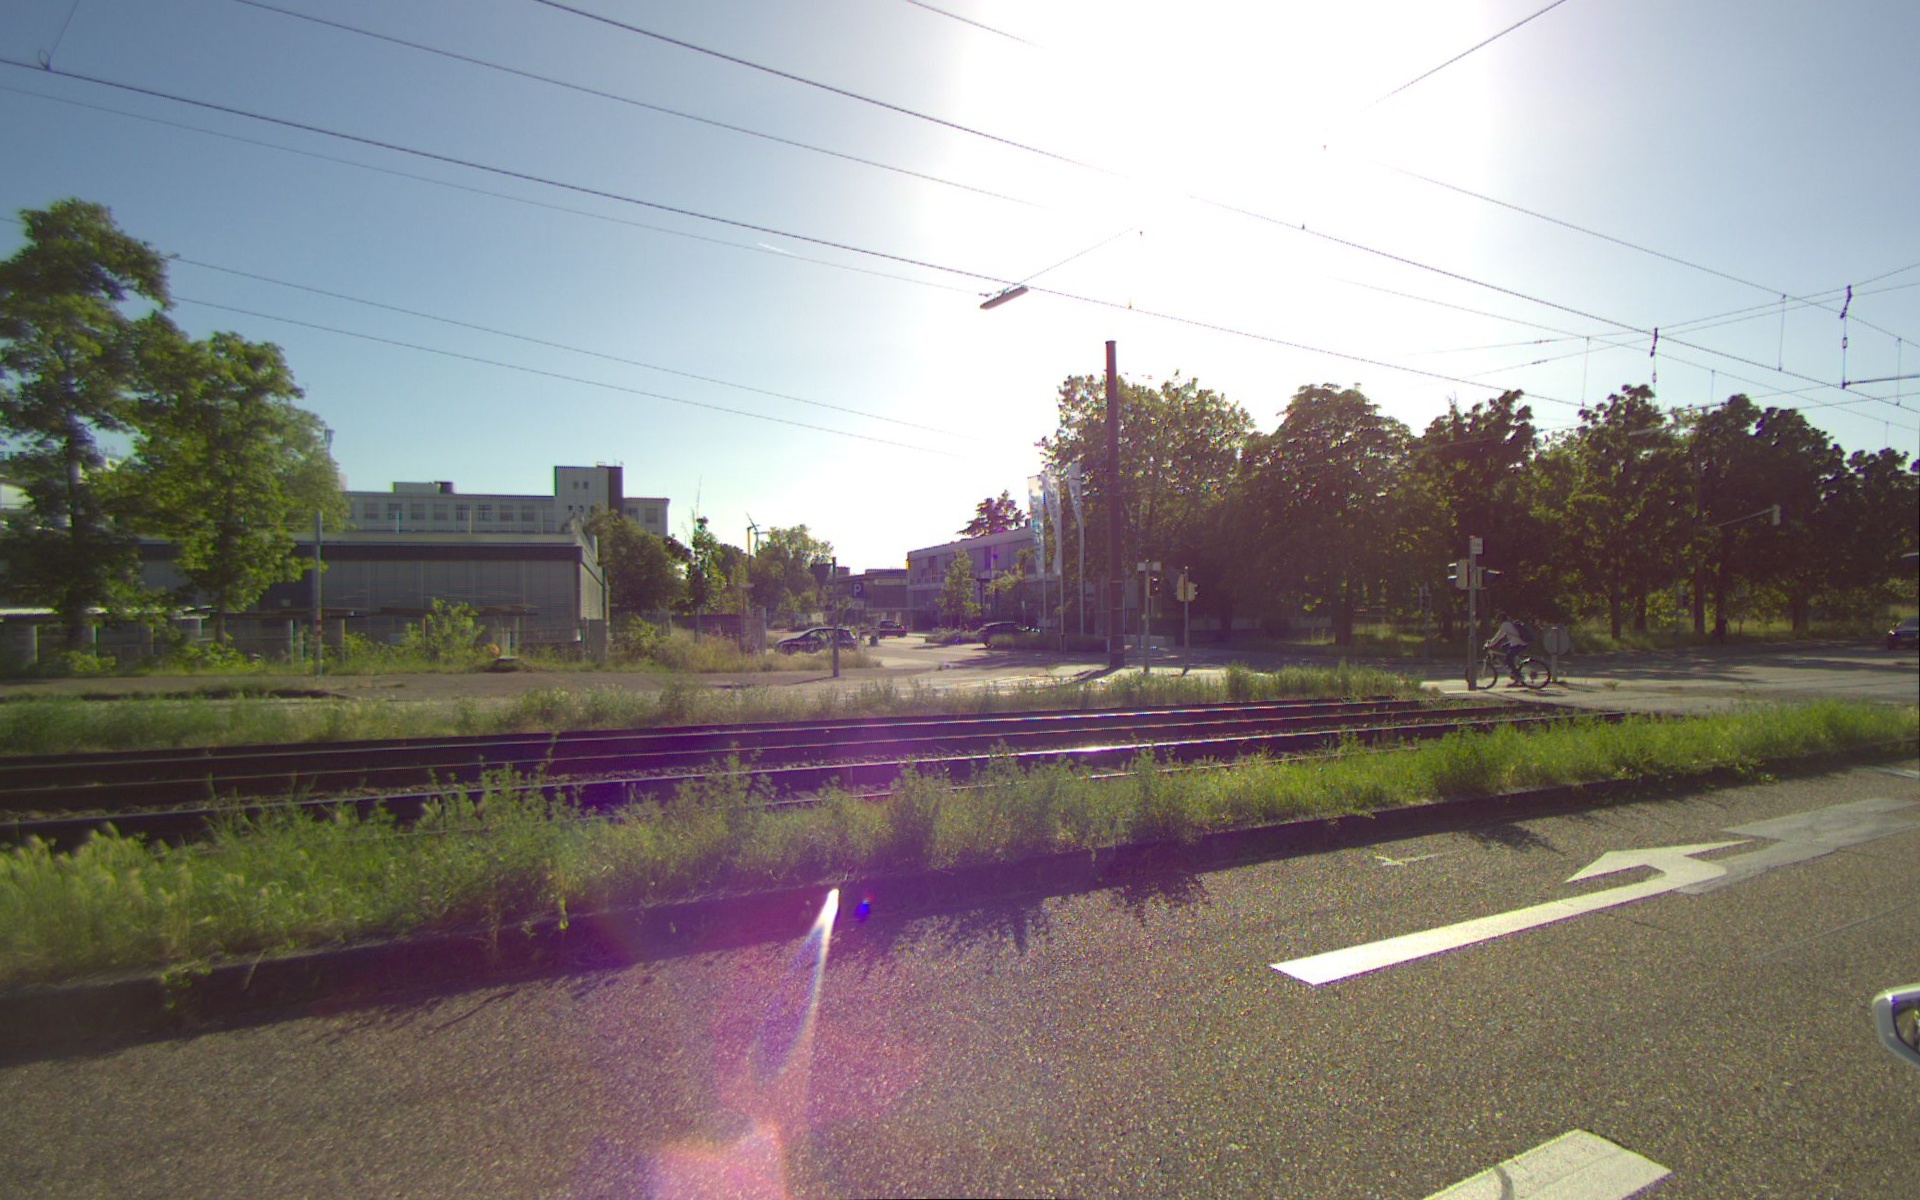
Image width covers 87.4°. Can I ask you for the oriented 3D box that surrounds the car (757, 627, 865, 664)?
[{"bbox_3d":[-7.721,2.316,51.920,5.210,1.772,2.164,1,0,-19],"label":"car"}]

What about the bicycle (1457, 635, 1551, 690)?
[{"bbox_3d":[12.053,1.372,22.275,1.751,1.117,0.697,1,0,35],"label":"bicycle"}]

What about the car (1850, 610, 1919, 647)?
[{"bbox_3d":[48.446,1.453,52.162,4.739,1.834,2.082,0,-2,-32],"label":"car"}]

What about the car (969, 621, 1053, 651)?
[{"bbox_3d":[3.150,2.200,61.722,4.768,1.751,2.041,1,0,-21],"label":"car"}]

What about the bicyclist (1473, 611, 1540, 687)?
[{"bbox_3d":[12.094,1.054,22.235,1.216,1.614,0.802,1,0,35],"label":"bicyclist"}]

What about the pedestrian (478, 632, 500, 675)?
[{"bbox_3d":[-14.699,1.653,31.348,0.432,1.318,0.441,0,0,18],"label":"pedestrian"}]

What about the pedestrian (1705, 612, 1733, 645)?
[{"bbox_3d":[40.653,1.530,53.802,0.919,1.757,0.761,0,0,-2],"label":"pedestrian"}]
